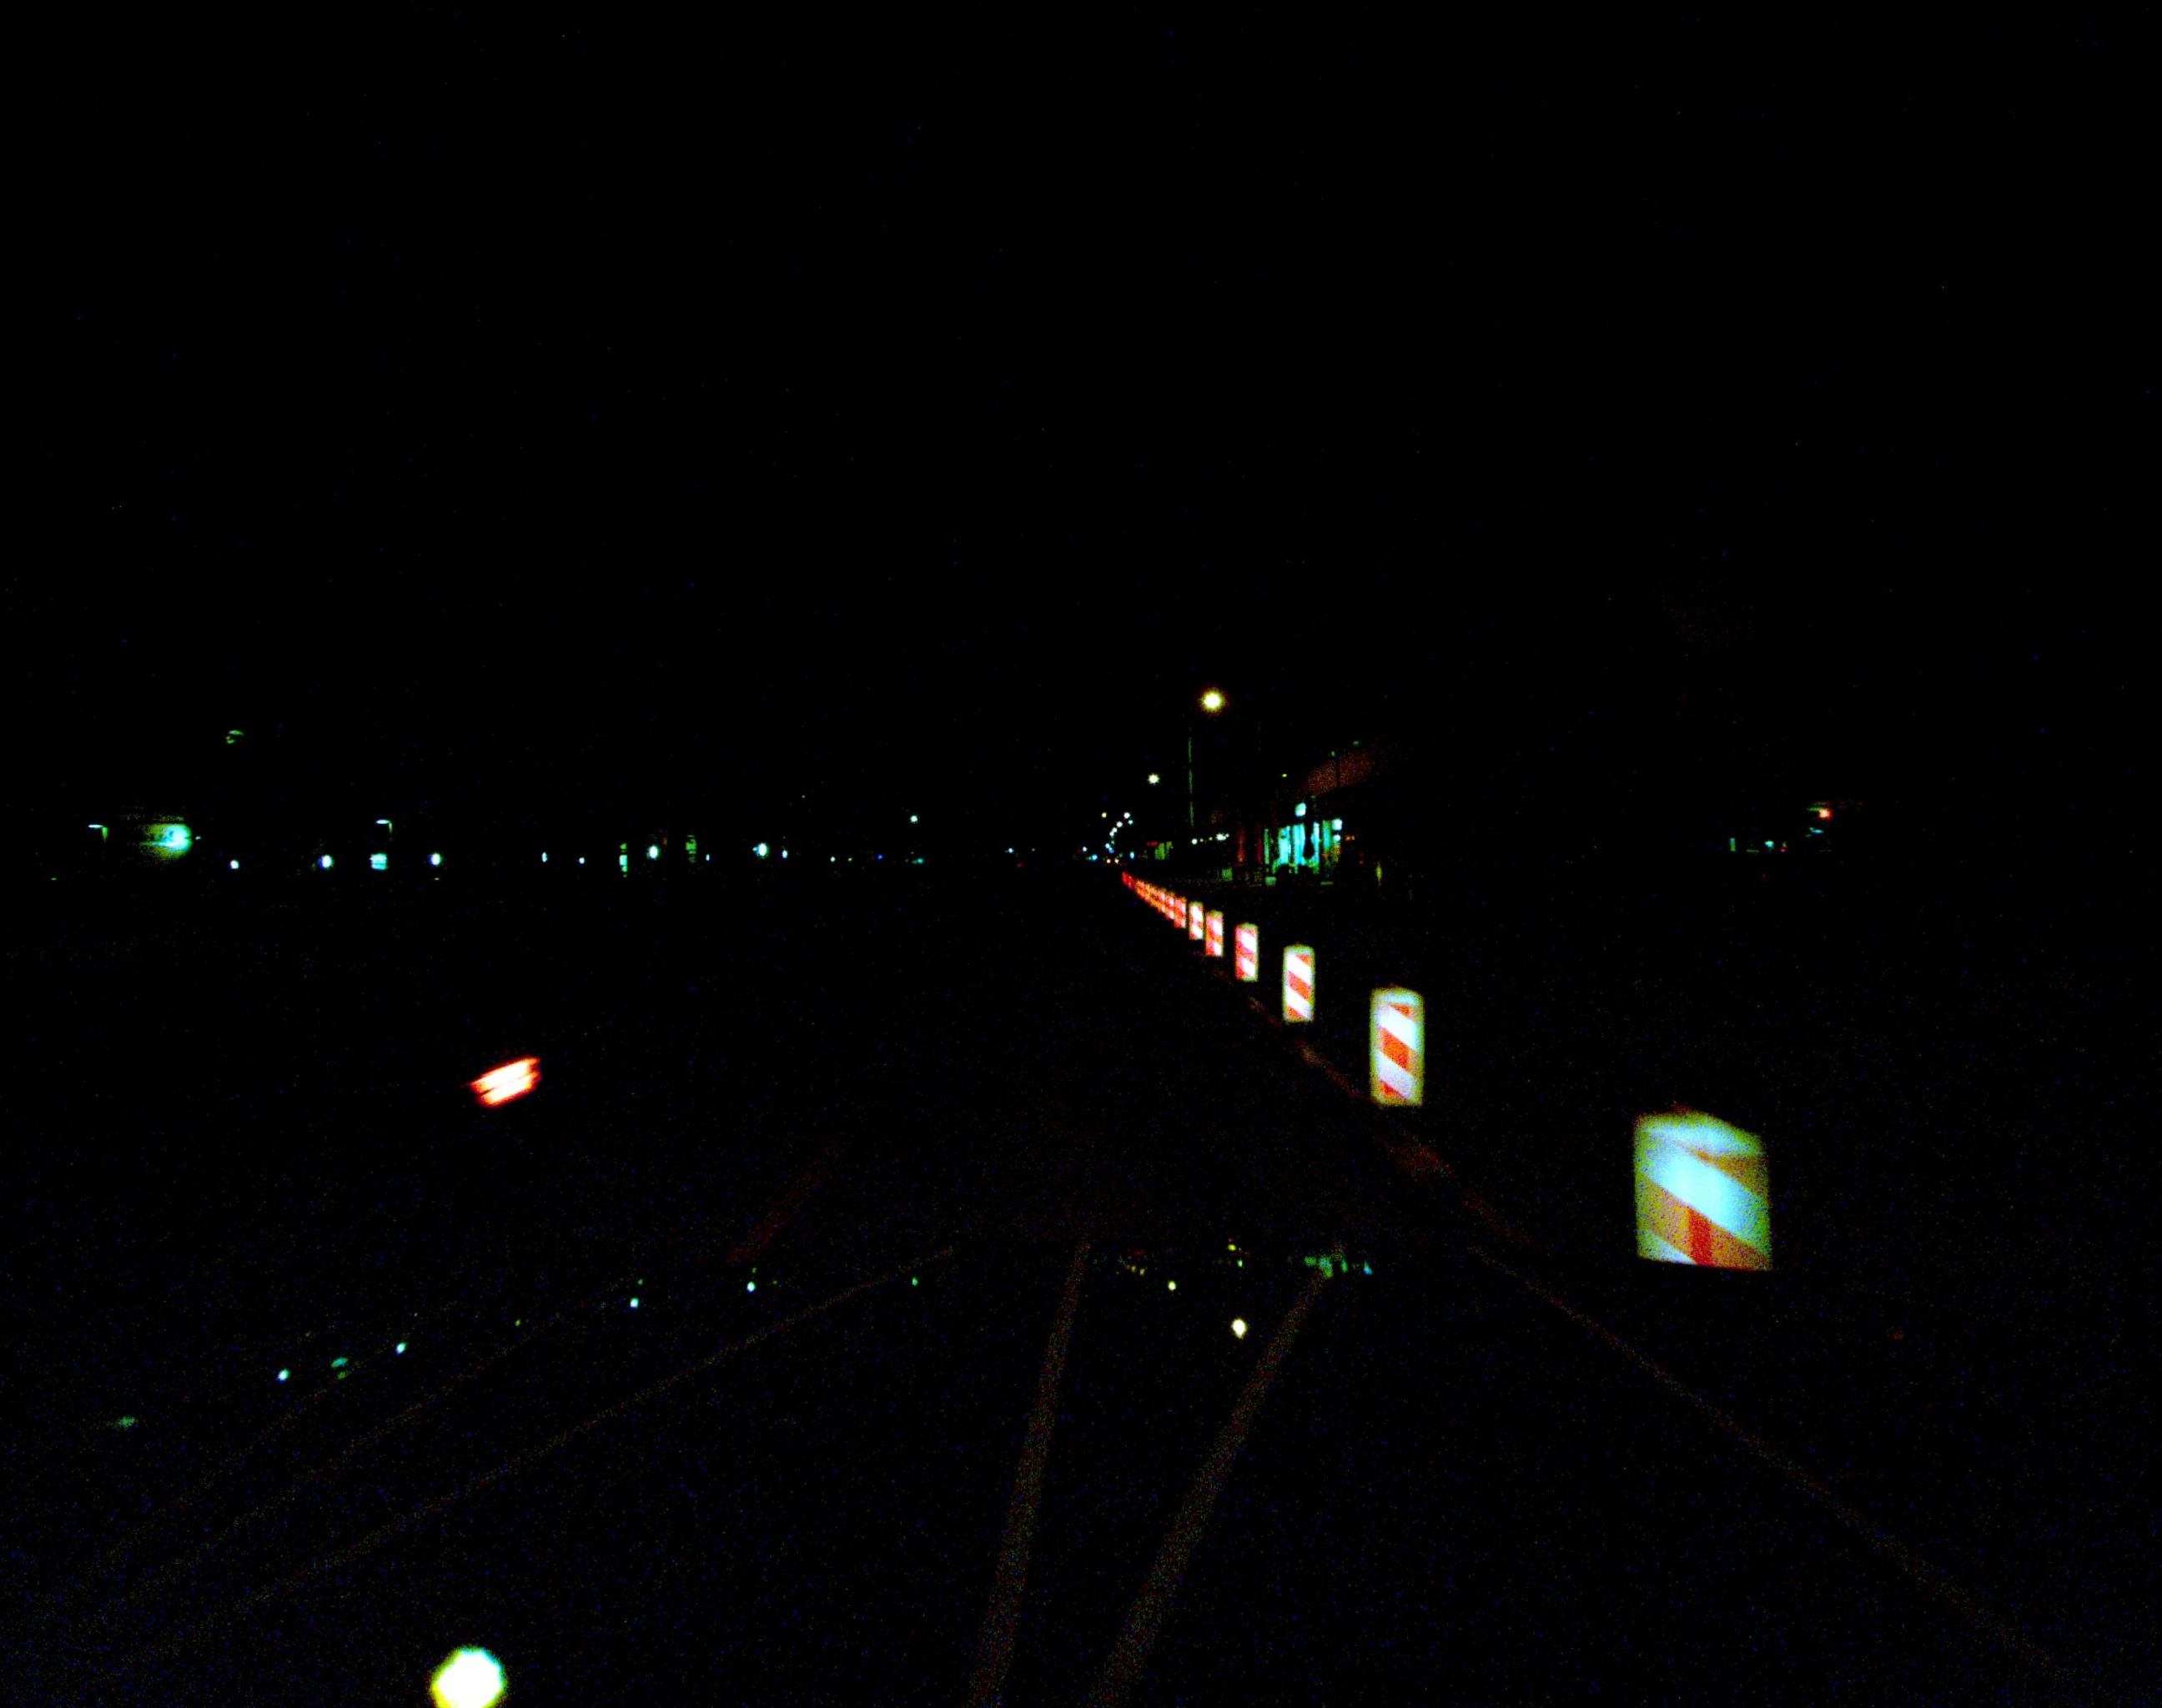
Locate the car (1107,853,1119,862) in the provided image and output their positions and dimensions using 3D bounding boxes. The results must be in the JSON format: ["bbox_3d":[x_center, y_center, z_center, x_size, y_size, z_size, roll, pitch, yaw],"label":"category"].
[{"bbox_3d":[5.209,0.510,123.841,1.671,1.420,4.000,0,0,0],"label":"car"}]

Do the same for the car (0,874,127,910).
[{"bbox_3d":[-48.162,1.734,35.367,1.998,1.499,4.301,-1,0,1],"label":"car"}]

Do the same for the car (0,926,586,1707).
[{"bbox_3d":[-2.833,1.064,0.434,1.809,1.485,4.730,-3,0,2],"label":"car"}]
